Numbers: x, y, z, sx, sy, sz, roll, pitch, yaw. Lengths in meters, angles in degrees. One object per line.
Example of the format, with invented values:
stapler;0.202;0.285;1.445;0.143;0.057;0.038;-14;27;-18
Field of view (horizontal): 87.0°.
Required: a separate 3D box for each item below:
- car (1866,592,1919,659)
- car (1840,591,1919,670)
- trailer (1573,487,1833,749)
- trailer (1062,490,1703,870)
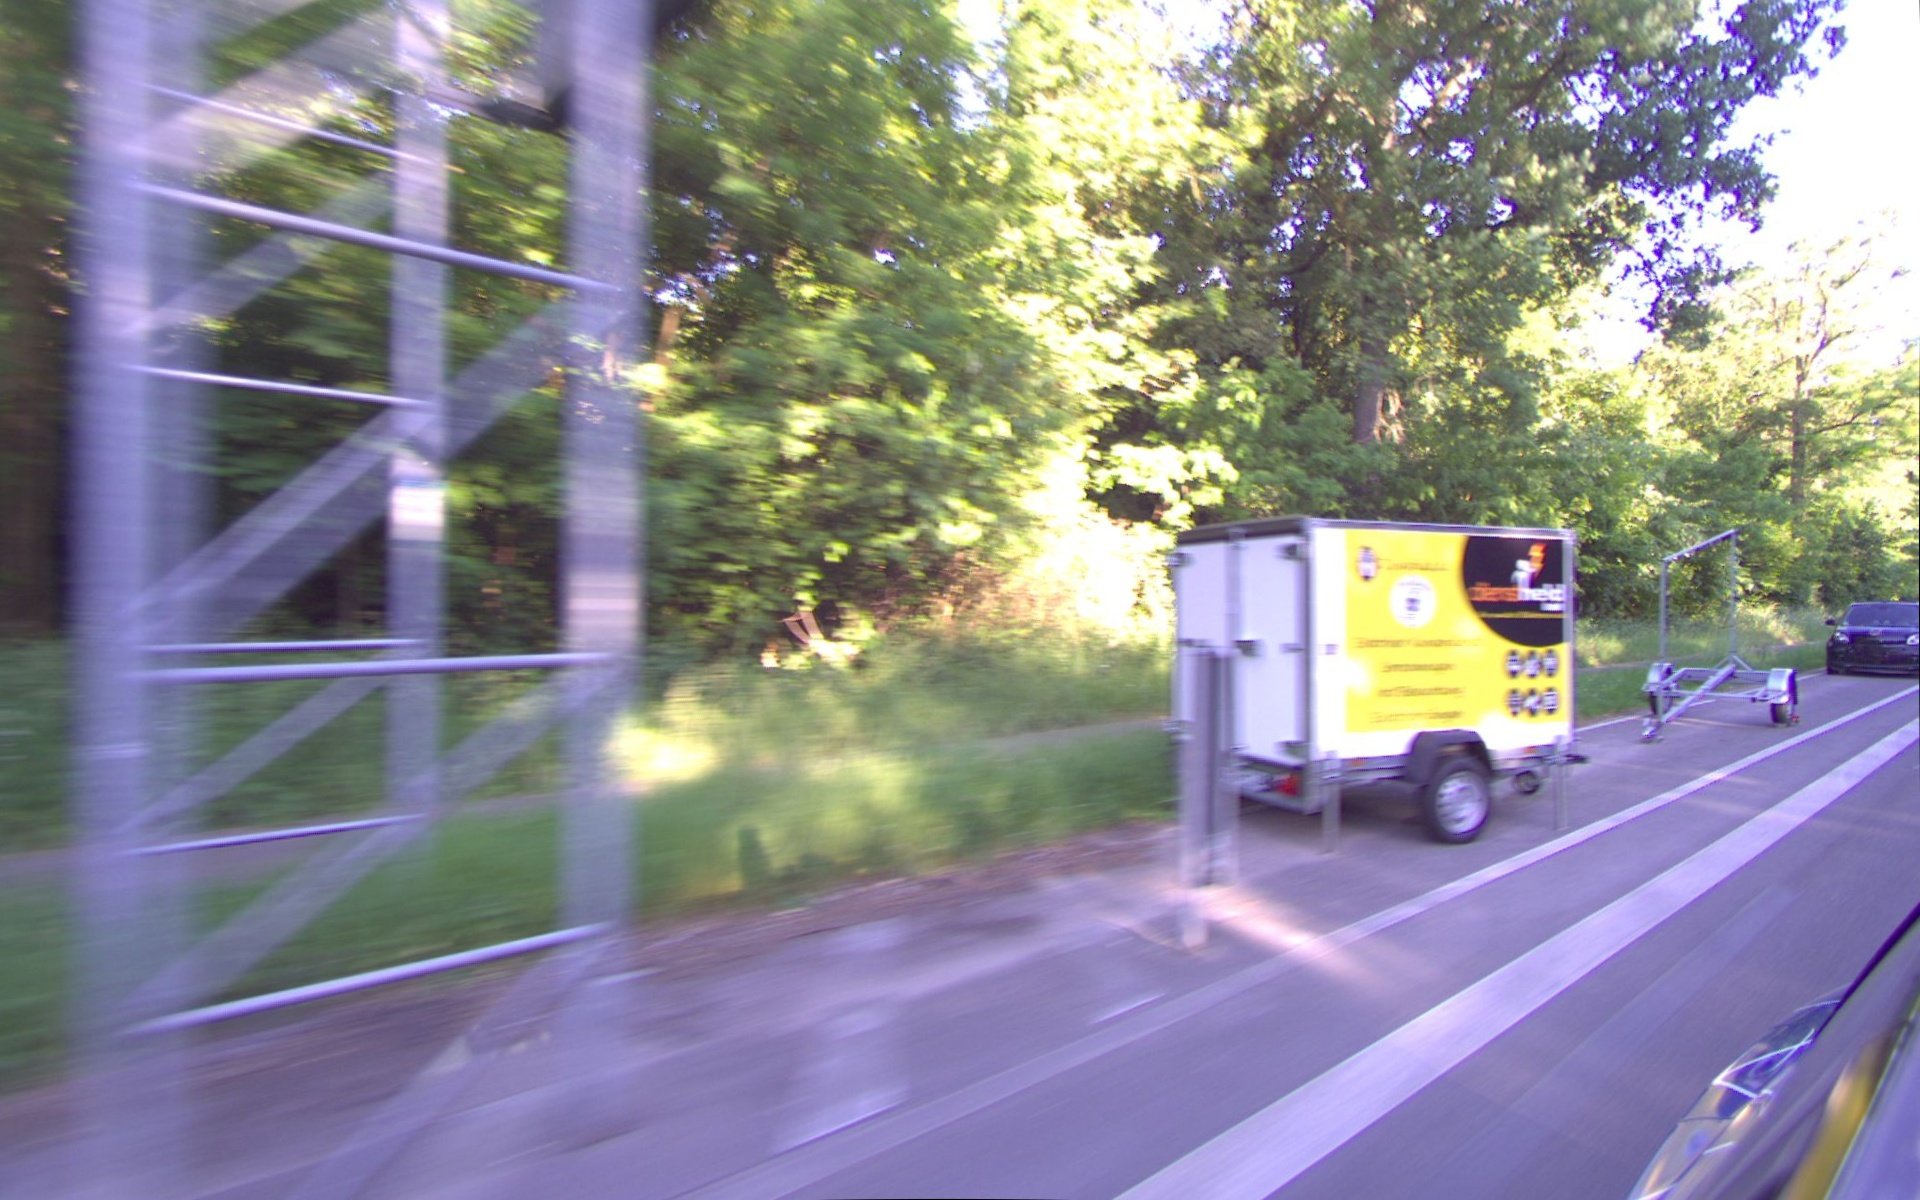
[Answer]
car;23.244;0.574;24.333;4.325;1.507;1.737;0;-1;-42
car;19.592;0.591;21.007;2.958;1.549;1.589;0;0;-41
trailer;8.694;0.149;11.719;3.930;2.540;1.616;-1;1;-41
trailer;2.856;0.427;7.046;3.763;2.048;1.973;1;1;-21
